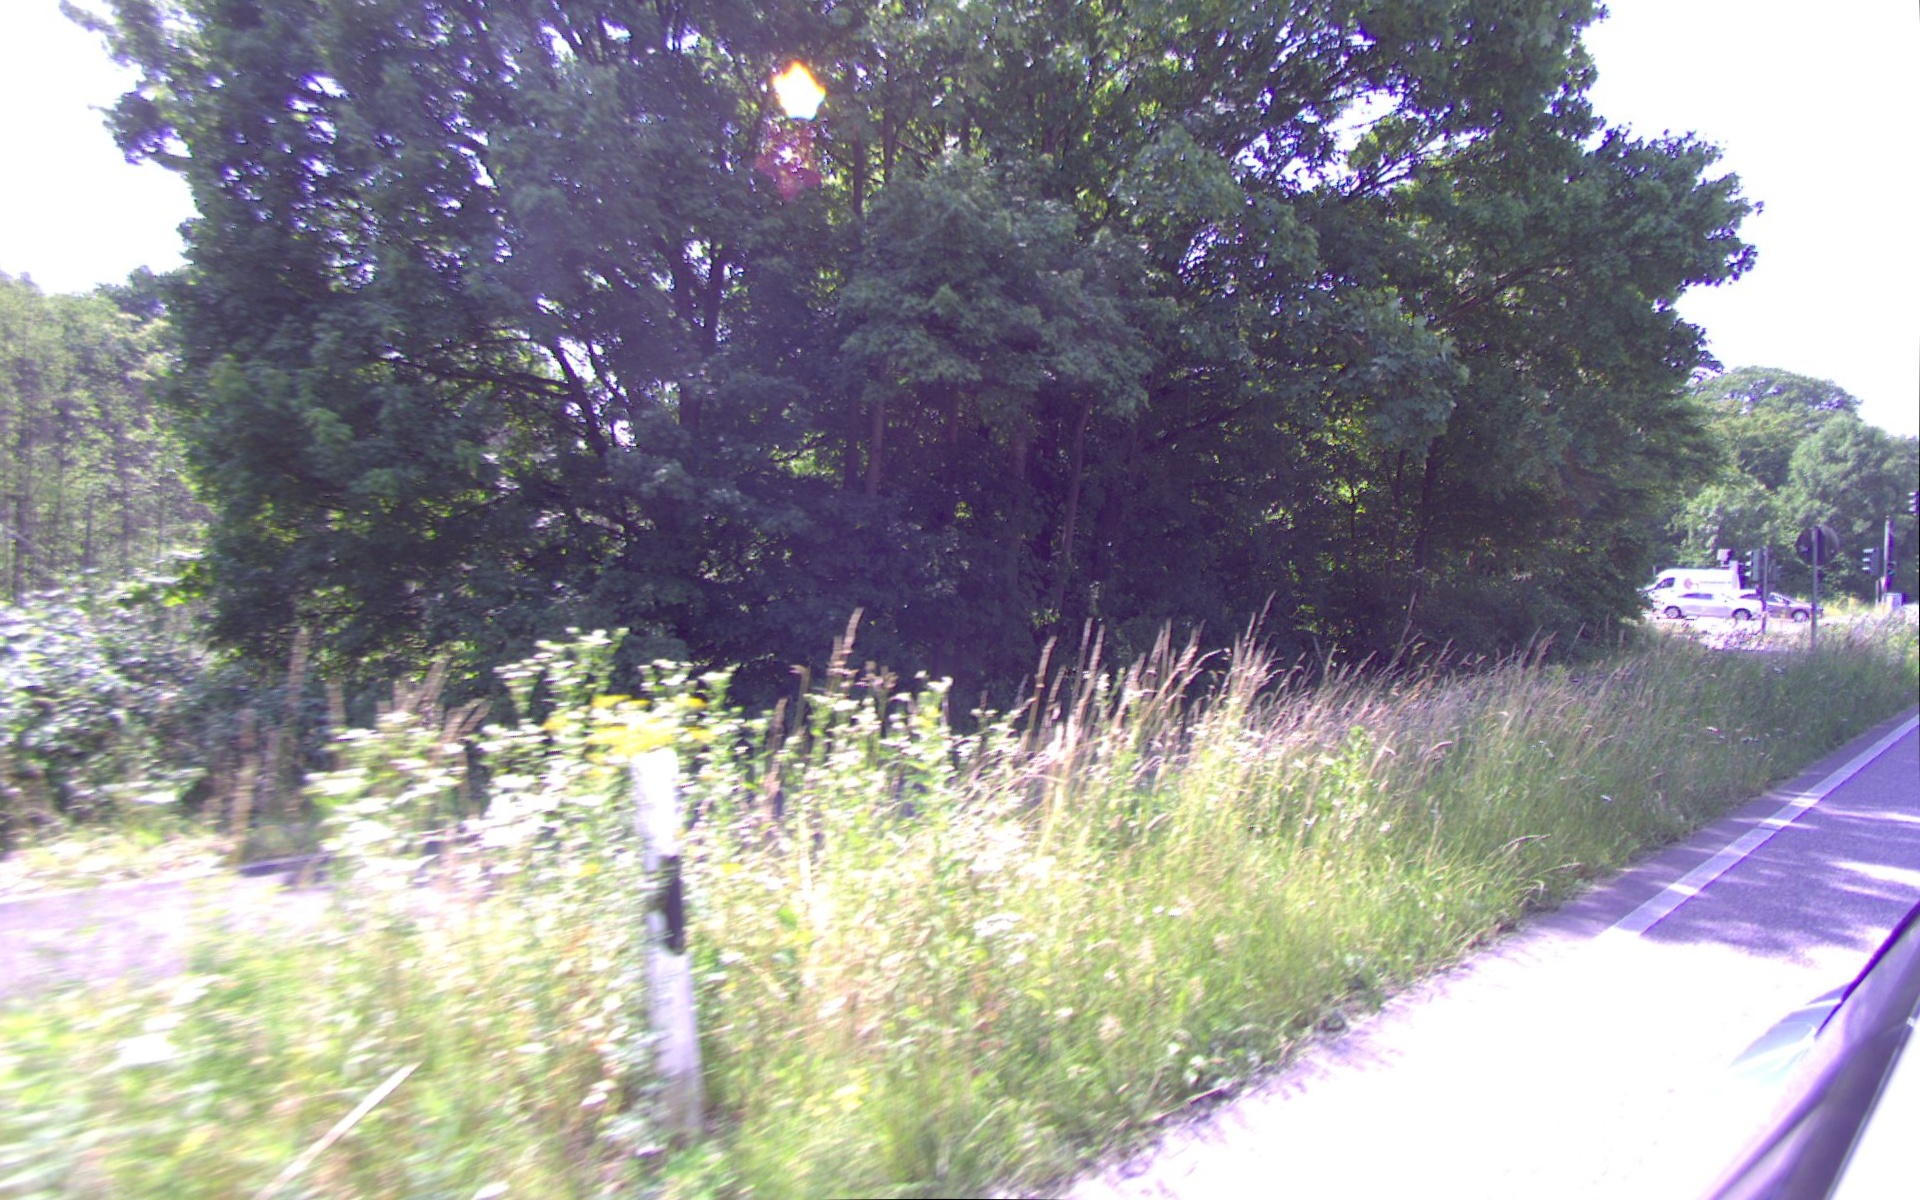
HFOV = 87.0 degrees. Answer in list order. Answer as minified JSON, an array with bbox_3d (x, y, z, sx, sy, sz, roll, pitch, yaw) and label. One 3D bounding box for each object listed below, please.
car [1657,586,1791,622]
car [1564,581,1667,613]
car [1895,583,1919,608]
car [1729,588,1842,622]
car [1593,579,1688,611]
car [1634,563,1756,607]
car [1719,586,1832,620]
[{"bbox_3d":[37.826,0.152,50.203,1.984,1.517,4.945,-1,3,-39],"label":"car"},{"bbox_3d":[37.138,-0.223,57.407,2.085,1.554,4.430,-1,3,-40],"label":"car"},{"bbox_3d":[61.438,-0.207,63.498,4.142,1.478,1.801,2,2,-8],"label":"car"},{"bbox_3d":[41.639,0.220,51.107,1.961,1.464,4.099,0,3,-42],"label":"car"},{"bbox_3d":[39.667,-0.303,59.073,1.964,1.679,4.182,0,3,-40],"label":"car"},{"bbox_3d":[47.409,-0.985,65.440,5.990,2.678,1.961,1,0,23],"label":"car"},{"bbox_3d":[43.798,0.132,54.444,1.965,1.554,4.428,0,3,-41],"label":"car"}]
